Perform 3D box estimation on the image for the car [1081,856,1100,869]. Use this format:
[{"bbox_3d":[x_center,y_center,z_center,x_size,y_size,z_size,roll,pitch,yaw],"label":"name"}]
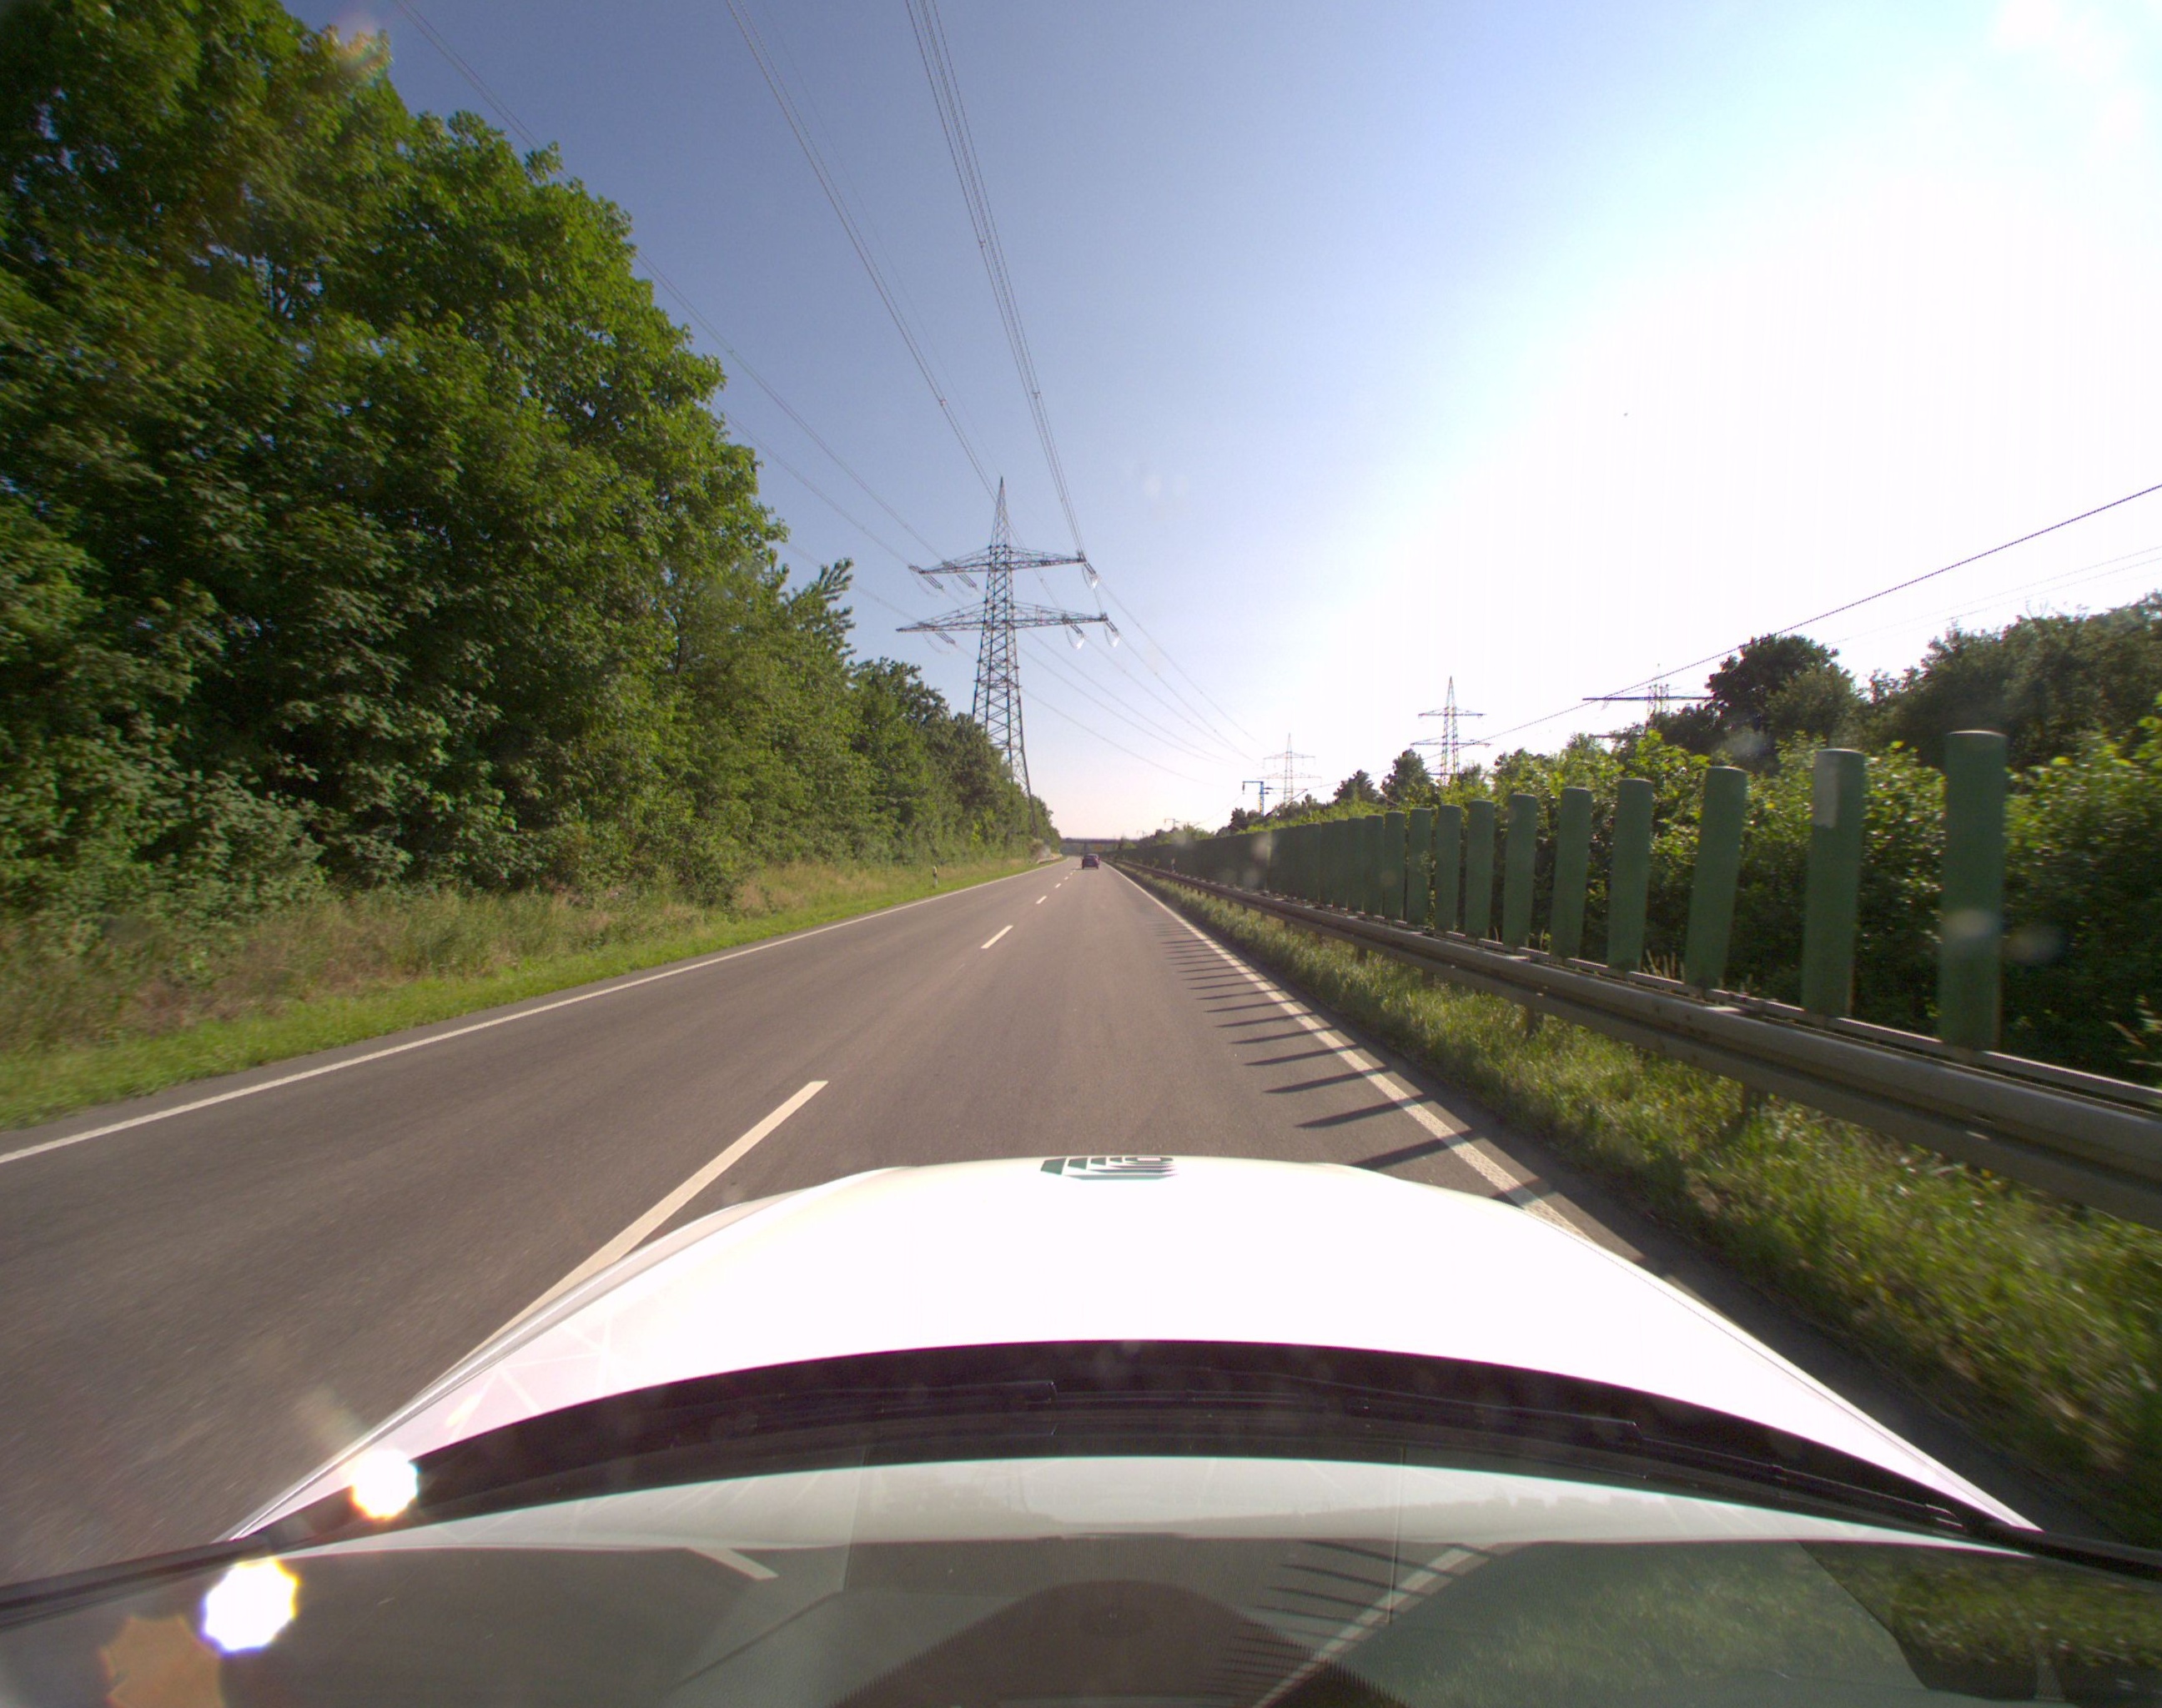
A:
[{"bbox_3d":[0.907,0.806,81.136,1.659,1.261,3.997,0,0,-2],"label":"car"}]
